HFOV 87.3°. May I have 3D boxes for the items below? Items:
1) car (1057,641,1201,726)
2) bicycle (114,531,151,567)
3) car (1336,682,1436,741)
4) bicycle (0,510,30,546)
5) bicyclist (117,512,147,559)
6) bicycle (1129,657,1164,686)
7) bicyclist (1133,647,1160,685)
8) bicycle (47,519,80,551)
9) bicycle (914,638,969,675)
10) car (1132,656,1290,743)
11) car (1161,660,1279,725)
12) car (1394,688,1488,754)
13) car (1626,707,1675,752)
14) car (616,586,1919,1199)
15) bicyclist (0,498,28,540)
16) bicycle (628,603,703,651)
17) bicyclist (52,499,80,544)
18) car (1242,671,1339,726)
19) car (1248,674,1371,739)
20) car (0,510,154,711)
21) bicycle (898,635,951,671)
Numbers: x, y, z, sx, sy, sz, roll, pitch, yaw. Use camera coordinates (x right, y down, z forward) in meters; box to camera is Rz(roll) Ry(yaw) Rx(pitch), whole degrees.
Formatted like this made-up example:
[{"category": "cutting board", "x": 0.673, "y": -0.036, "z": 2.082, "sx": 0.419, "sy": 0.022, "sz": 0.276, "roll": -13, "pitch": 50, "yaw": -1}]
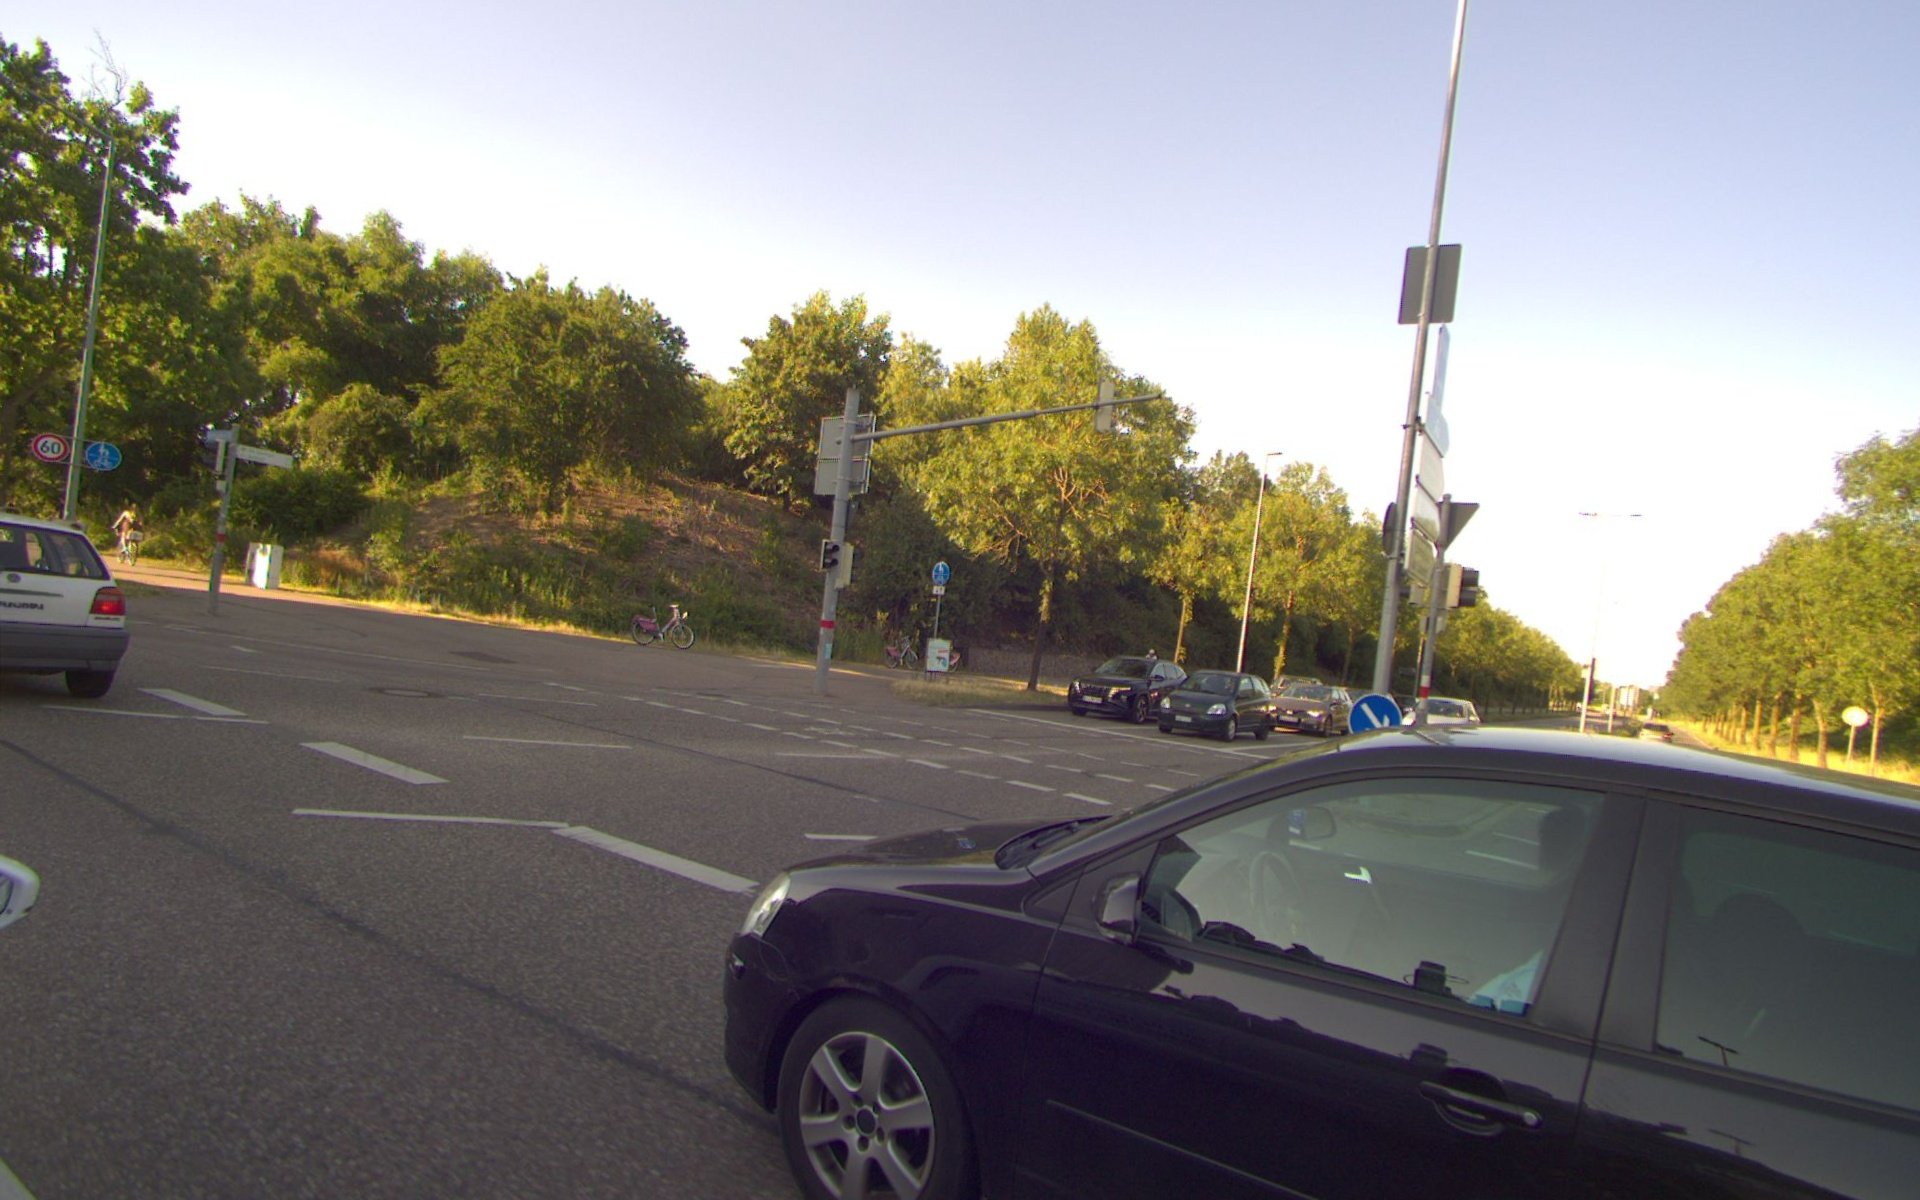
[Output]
[{"category": "car", "x": 4.366, "y": 2.153, "z": 25.546, "sx": 1.835, "sy": 1.712, "sz": 3.990, "roll": 5, "pitch": -4, "yaw": 37}, {"category": "bicycle", "x": -23.116, "y": -1.429, "z": 28.090, "sx": 1.010, "sy": 0.926, "sz": 0.438, "roll": 6, "pitch": 0, "yaw": 32}, {"category": "car", "x": 14.472, "y": 3.813, "z": 34.076, "sx": 2.010, "sy": 1.585, "sz": 4.332, "roll": 5, "pitch": -4, "yaw": 37}, {"category": "bicycle", "x": -32.989, "y": -2.518, "z": 34.902, "sx": 1.595, "sy": 1.124, "sz": 0.566, "roll": 6, "pitch": -3, "yaw": 32}, {"category": "bicyclist", "x": -23.119, "y": -1.797, "z": 28.102, "sx": 0.452, "sy": 1.248, "sz": 0.428, "roll": 6, "pitch": -1, "yaw": 32}, {"category": "bicycle", "x": 8.529, "y": 3.278, "z": 45.960, "sx": 0.808, "sy": 1.124, "sz": 2.018, "roll": 6, "pitch": -3, "yaw": 31}, {"category": "bicyclist", "x": 8.515, "y": 3.023, "z": 45.842, "sx": 0.780, "sy": 1.612, "sz": 0.859, "roll": 6, "pitch": -3, "yaw": 31}, {"category": "bicycle", "x": -28.434, "y": -2.068, "z": 31.902, "sx": 1.010, "sy": 0.924, "sz": 0.438, "roll": 6, "pitch": -3, "yaw": 32}, {"category": "bicycle", "x": -0.606, "y": 1.899, "z": 33.624, "sx": 1.789, "sy": 0.991, "sz": 0.631, "roll": 10, "pitch": -2, "yaw": -44}, {"category": "car", "x": 5.819, "y": 2.305, "z": 22.965, "sx": 1.970, "sy": 1.546, "sz": 3.990, "roll": 5, "pitch": -4, "yaw": 37}, {"category": "car", "x": 8.342, "y": 2.987, "z": 32.029, "sx": 2.010, "sy": 1.585, "sz": 4.332, "roll": 5, "pitch": -4, "yaw": 37}, {"category": "car", "x": 13.910, "y": 3.503, "z": 28.957, "sx": 1.860, "sy": 1.546, "sz": 3.996, "roll": 6, "pitch": -4, "yaw": 33}, {"category": "car", "x": 39.114, "y": 7.342, "z": 57.078, "sx": 1.968, "sy": 2.202, "sz": 3.995, "roll": 6, "pitch": -4, "yaw": 33}, {"category": "car", "x": 1.121, "y": 0.915, "z": 2.482, "sx": 3.621, "sy": 1.425, "sz": 1.621, "roll": 6, "pitch": -3, "yaw": 30}, {"category": "bicyclist", "x": -32.926, "y": -2.807, "z": 34.889, "sx": 0.821, "sy": 1.330, "sz": 0.545, "roll": 6, "pitch": -2, "yaw": 32}, {"category": "bicycle", "x": -7.521, "y": 0.700, "z": 25.762, "sx": 1.656, "sy": 1.004, "sz": 0.571, "roll": 8, "pitch": 2, "yaw": -42}, {"category": "bicyclist", "x": -28.359, "y": -2.486, "z": 31.912, "sx": 0.452, "sy": 1.323, "sz": 0.428, "roll": 6, "pitch": -2, "yaw": 32}, {"category": "car", "x": 12.294, "y": 3.678, "z": 37.226, "sx": 2.010, "sy": 1.585, "sz": 4.332, "roll": 5, "pitch": -4, "yaw": 37}, {"category": "car", "x": 10.125, "y": 3.105, "z": 28.975, "sx": 2.010, "sy": 1.422, "sz": 4.332, "roll": 5, "pitch": -4, "yaw": 37}, {"category": "car", "x": -8.583, "y": -0.086, "z": 8.314, "sx": 3.995, "sy": 1.429, "sz": 1.583, "roll": 6, "pitch": -3, "yaw": 31}, {"category": "bicycle", "x": -1.206, "y": 1.825, "z": 34.480, "sx": 1.789, "sy": 0.991, "sz": 0.631, "roll": 10, "pitch": -4, "yaw": -44}]
